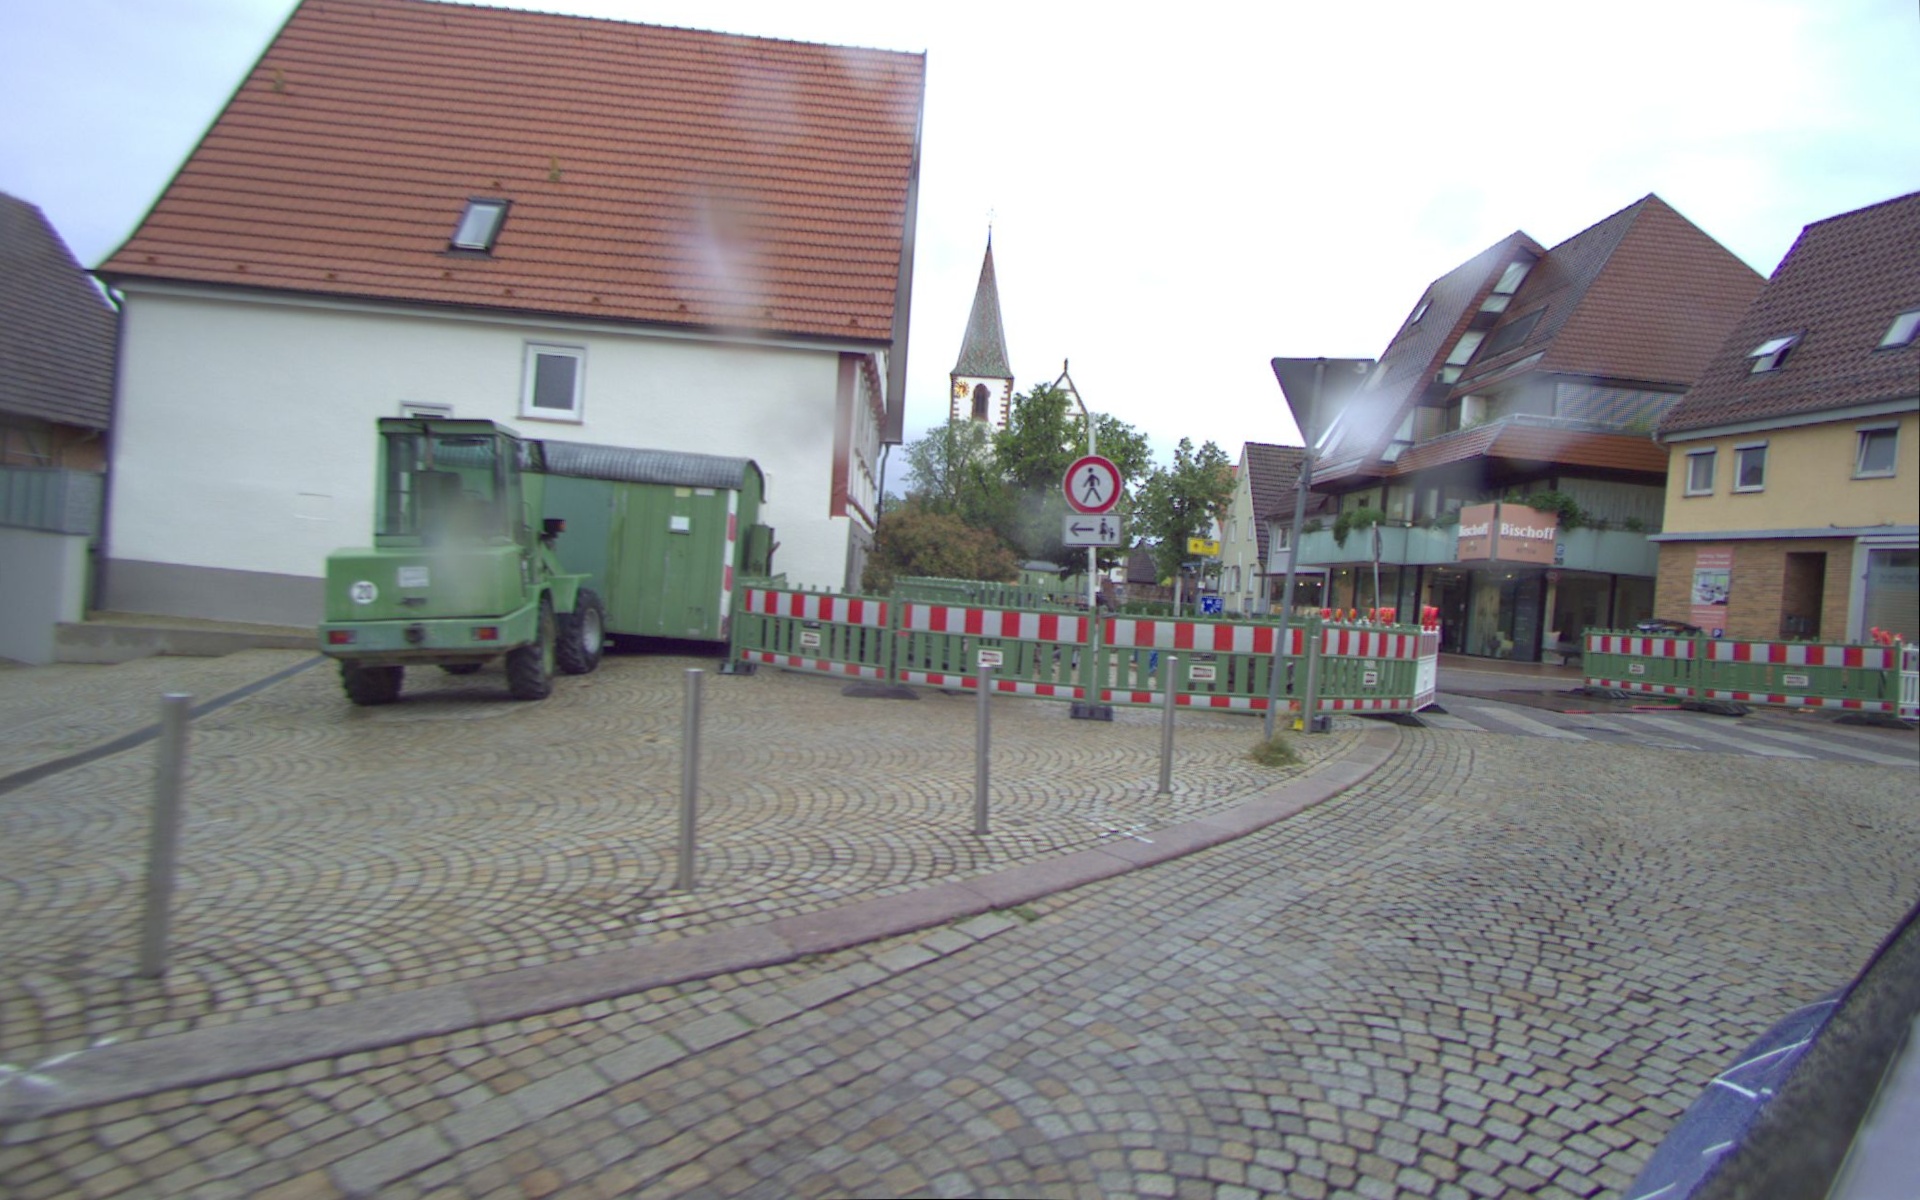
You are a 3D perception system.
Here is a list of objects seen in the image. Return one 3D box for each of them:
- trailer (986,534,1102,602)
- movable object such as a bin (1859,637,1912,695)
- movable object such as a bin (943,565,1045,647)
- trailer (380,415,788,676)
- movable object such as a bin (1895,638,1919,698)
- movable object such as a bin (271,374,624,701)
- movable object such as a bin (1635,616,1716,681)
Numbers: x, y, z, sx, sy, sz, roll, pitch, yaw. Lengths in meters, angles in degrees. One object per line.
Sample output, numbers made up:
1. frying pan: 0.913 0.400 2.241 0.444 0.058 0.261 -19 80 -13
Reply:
1. trailer: 4.436 -1.632 53.273 5.679 2.984 2.004 5 -2 -25
2. movable object such as a bin: 19.012 1.347 20.798 0.506 1.142 0.581 1 1 -17
3. movable object such as a bin: 0.854 0.162 28.225 1.871 2.039 4.007 3 -1 -12
4. trailer: -4.879 -0.658 13.920 4.541 2.872 2.494 5 -1 -4
5. movable object such as a bin: 19.193 1.366 20.185 0.506 1.147 0.581 1 2 -17
6. movable object such as a bin: -4.869 -0.545 10.378 1.873 2.586 4.298 2 1 -8
7. movable object such as a bin: 18.042 1.203 25.546 1.046 1.531 1.245 2 1 -13
